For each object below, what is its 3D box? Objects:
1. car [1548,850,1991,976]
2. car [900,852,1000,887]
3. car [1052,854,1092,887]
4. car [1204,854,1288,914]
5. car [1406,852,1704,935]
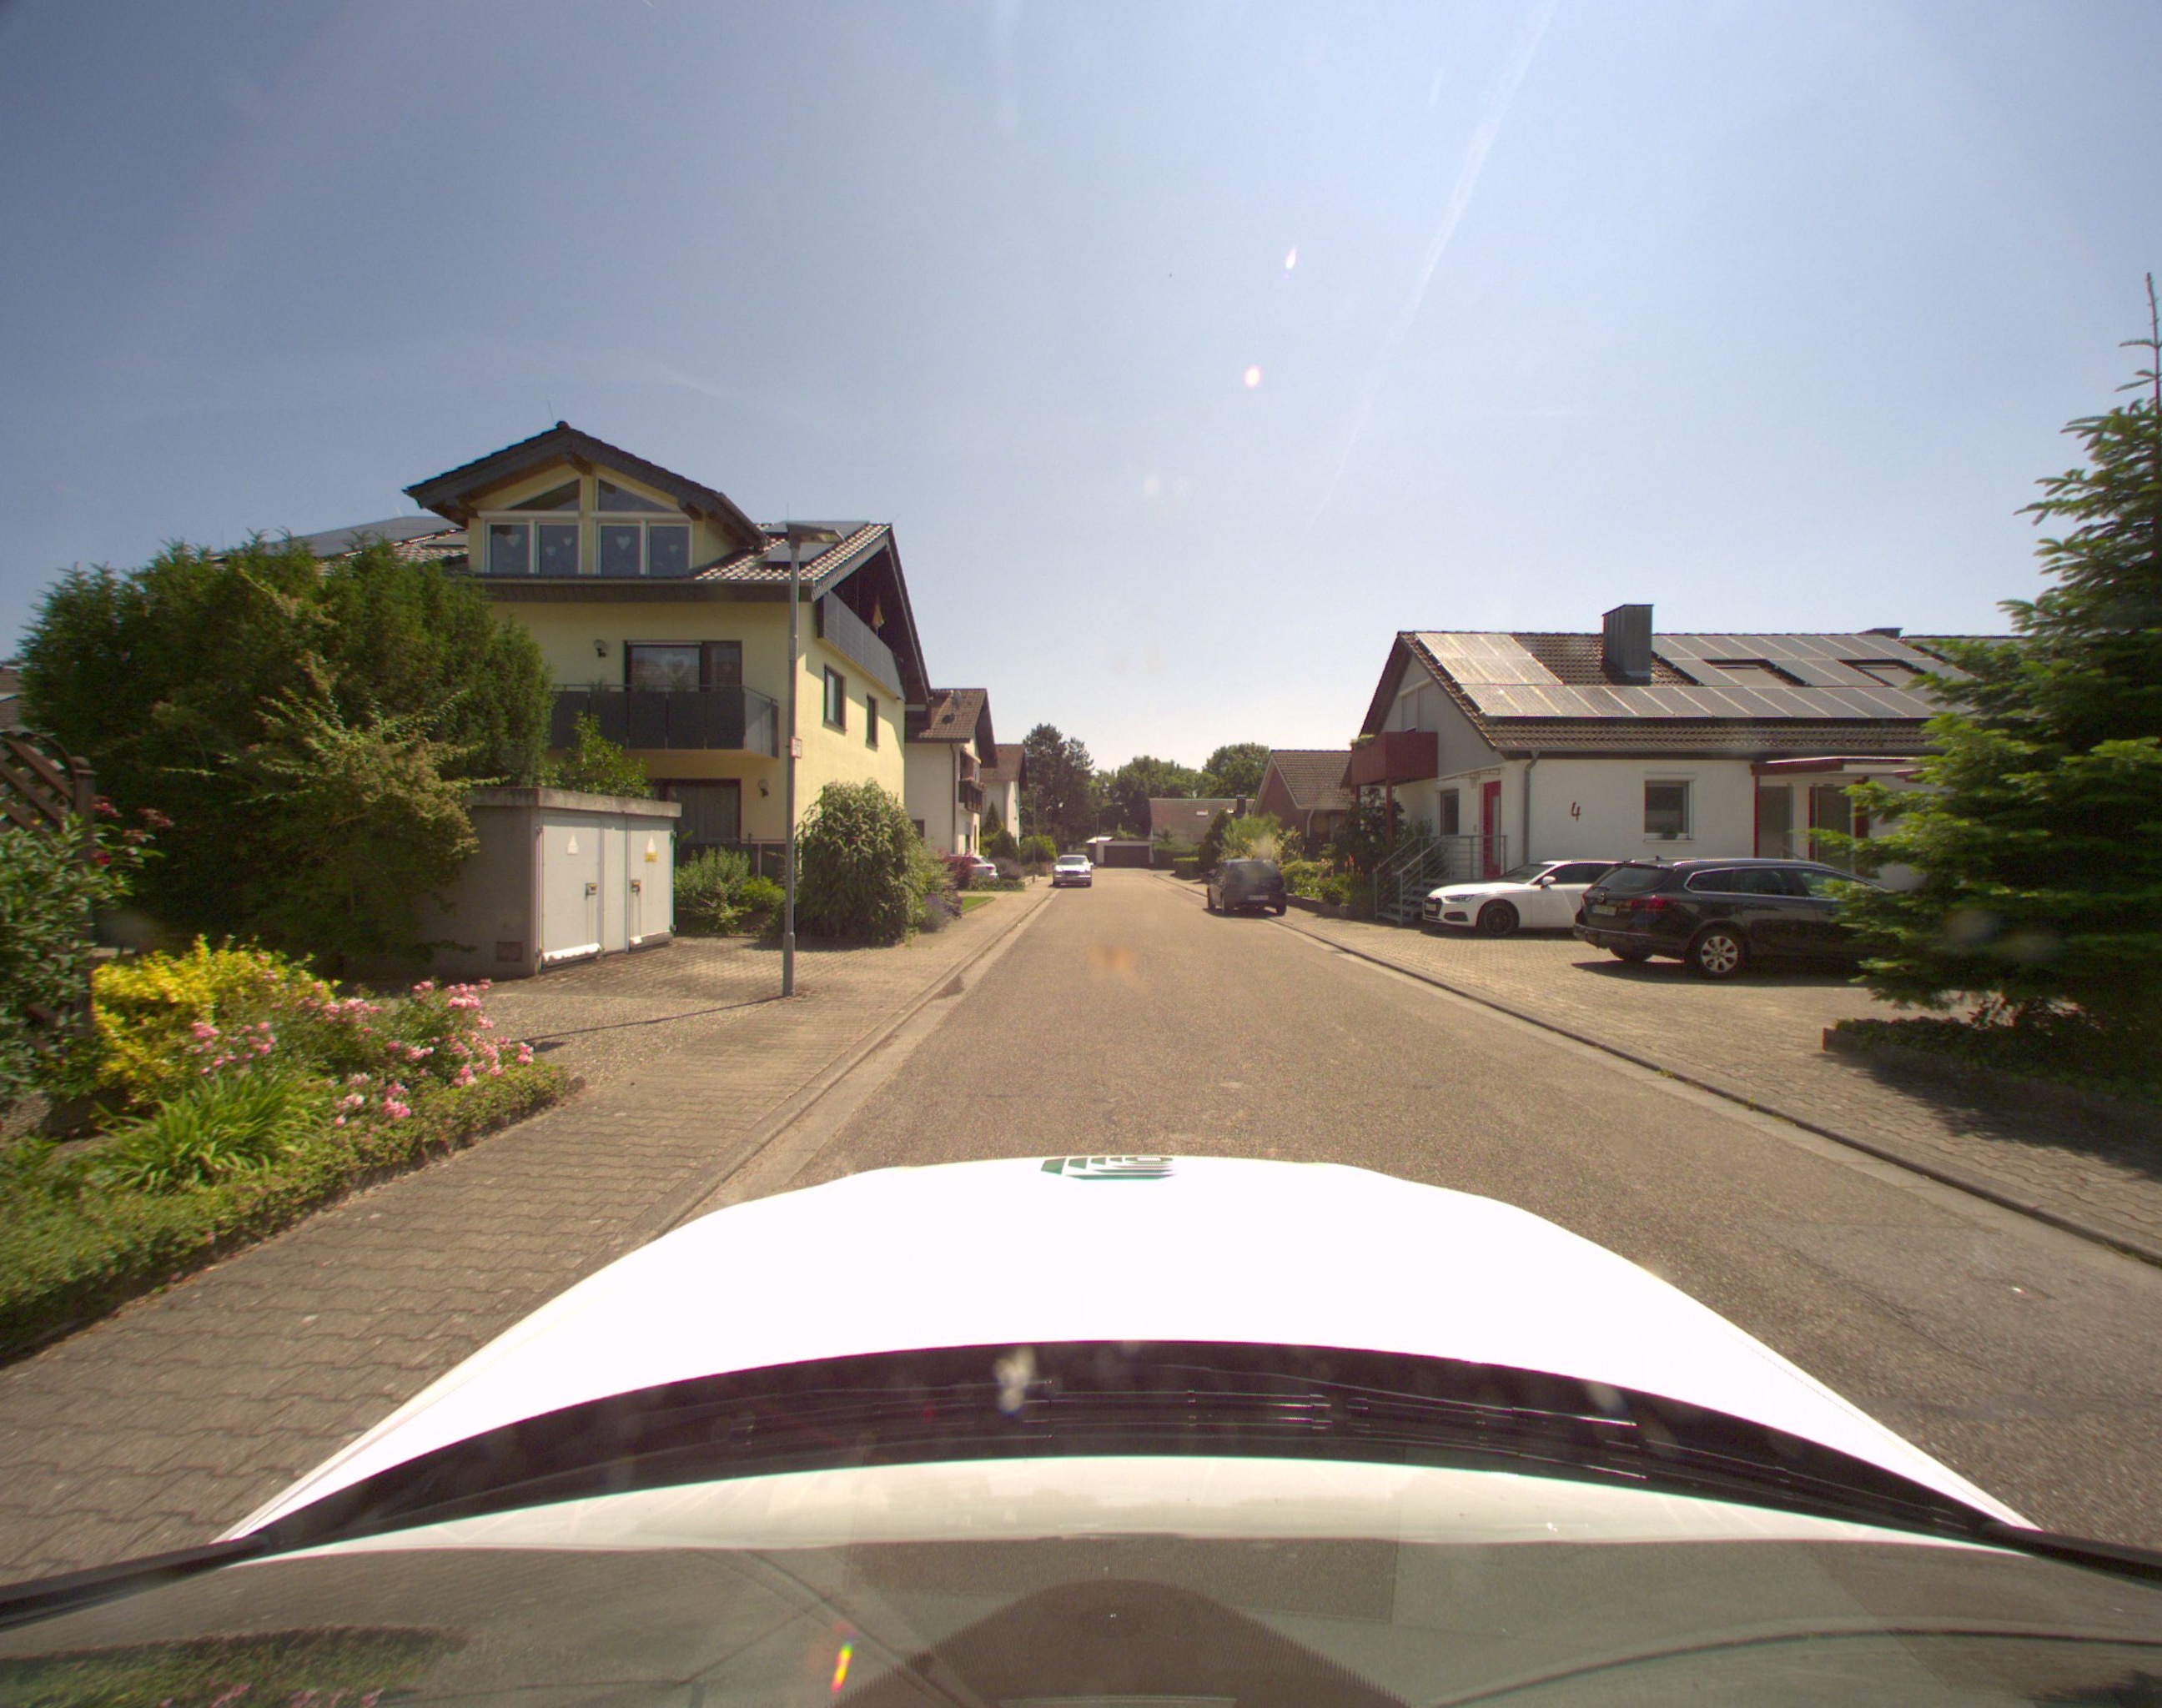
[{"bbox_3d":[8.897,0.711,10.845,4.226,1.486,2.000,0,1,0],"label":"car"},{"bbox_3d":[-5.433,0.636,34.296,3.980,1.420,1.842,1,0,-5],"label":"car"},{"bbox_3d":[-0.359,0.723,38.280,1.693,1.393,4.338,0,0,2],"label":"car"},{"bbox_3d":[4.363,0.741,22.022,1.644,1.440,3.653,0,0,2],"label":"car"},{"bbox_3d":[8.803,0.702,15.471,4.519,1.396,1.953,1,1,2],"label":"car"}]
